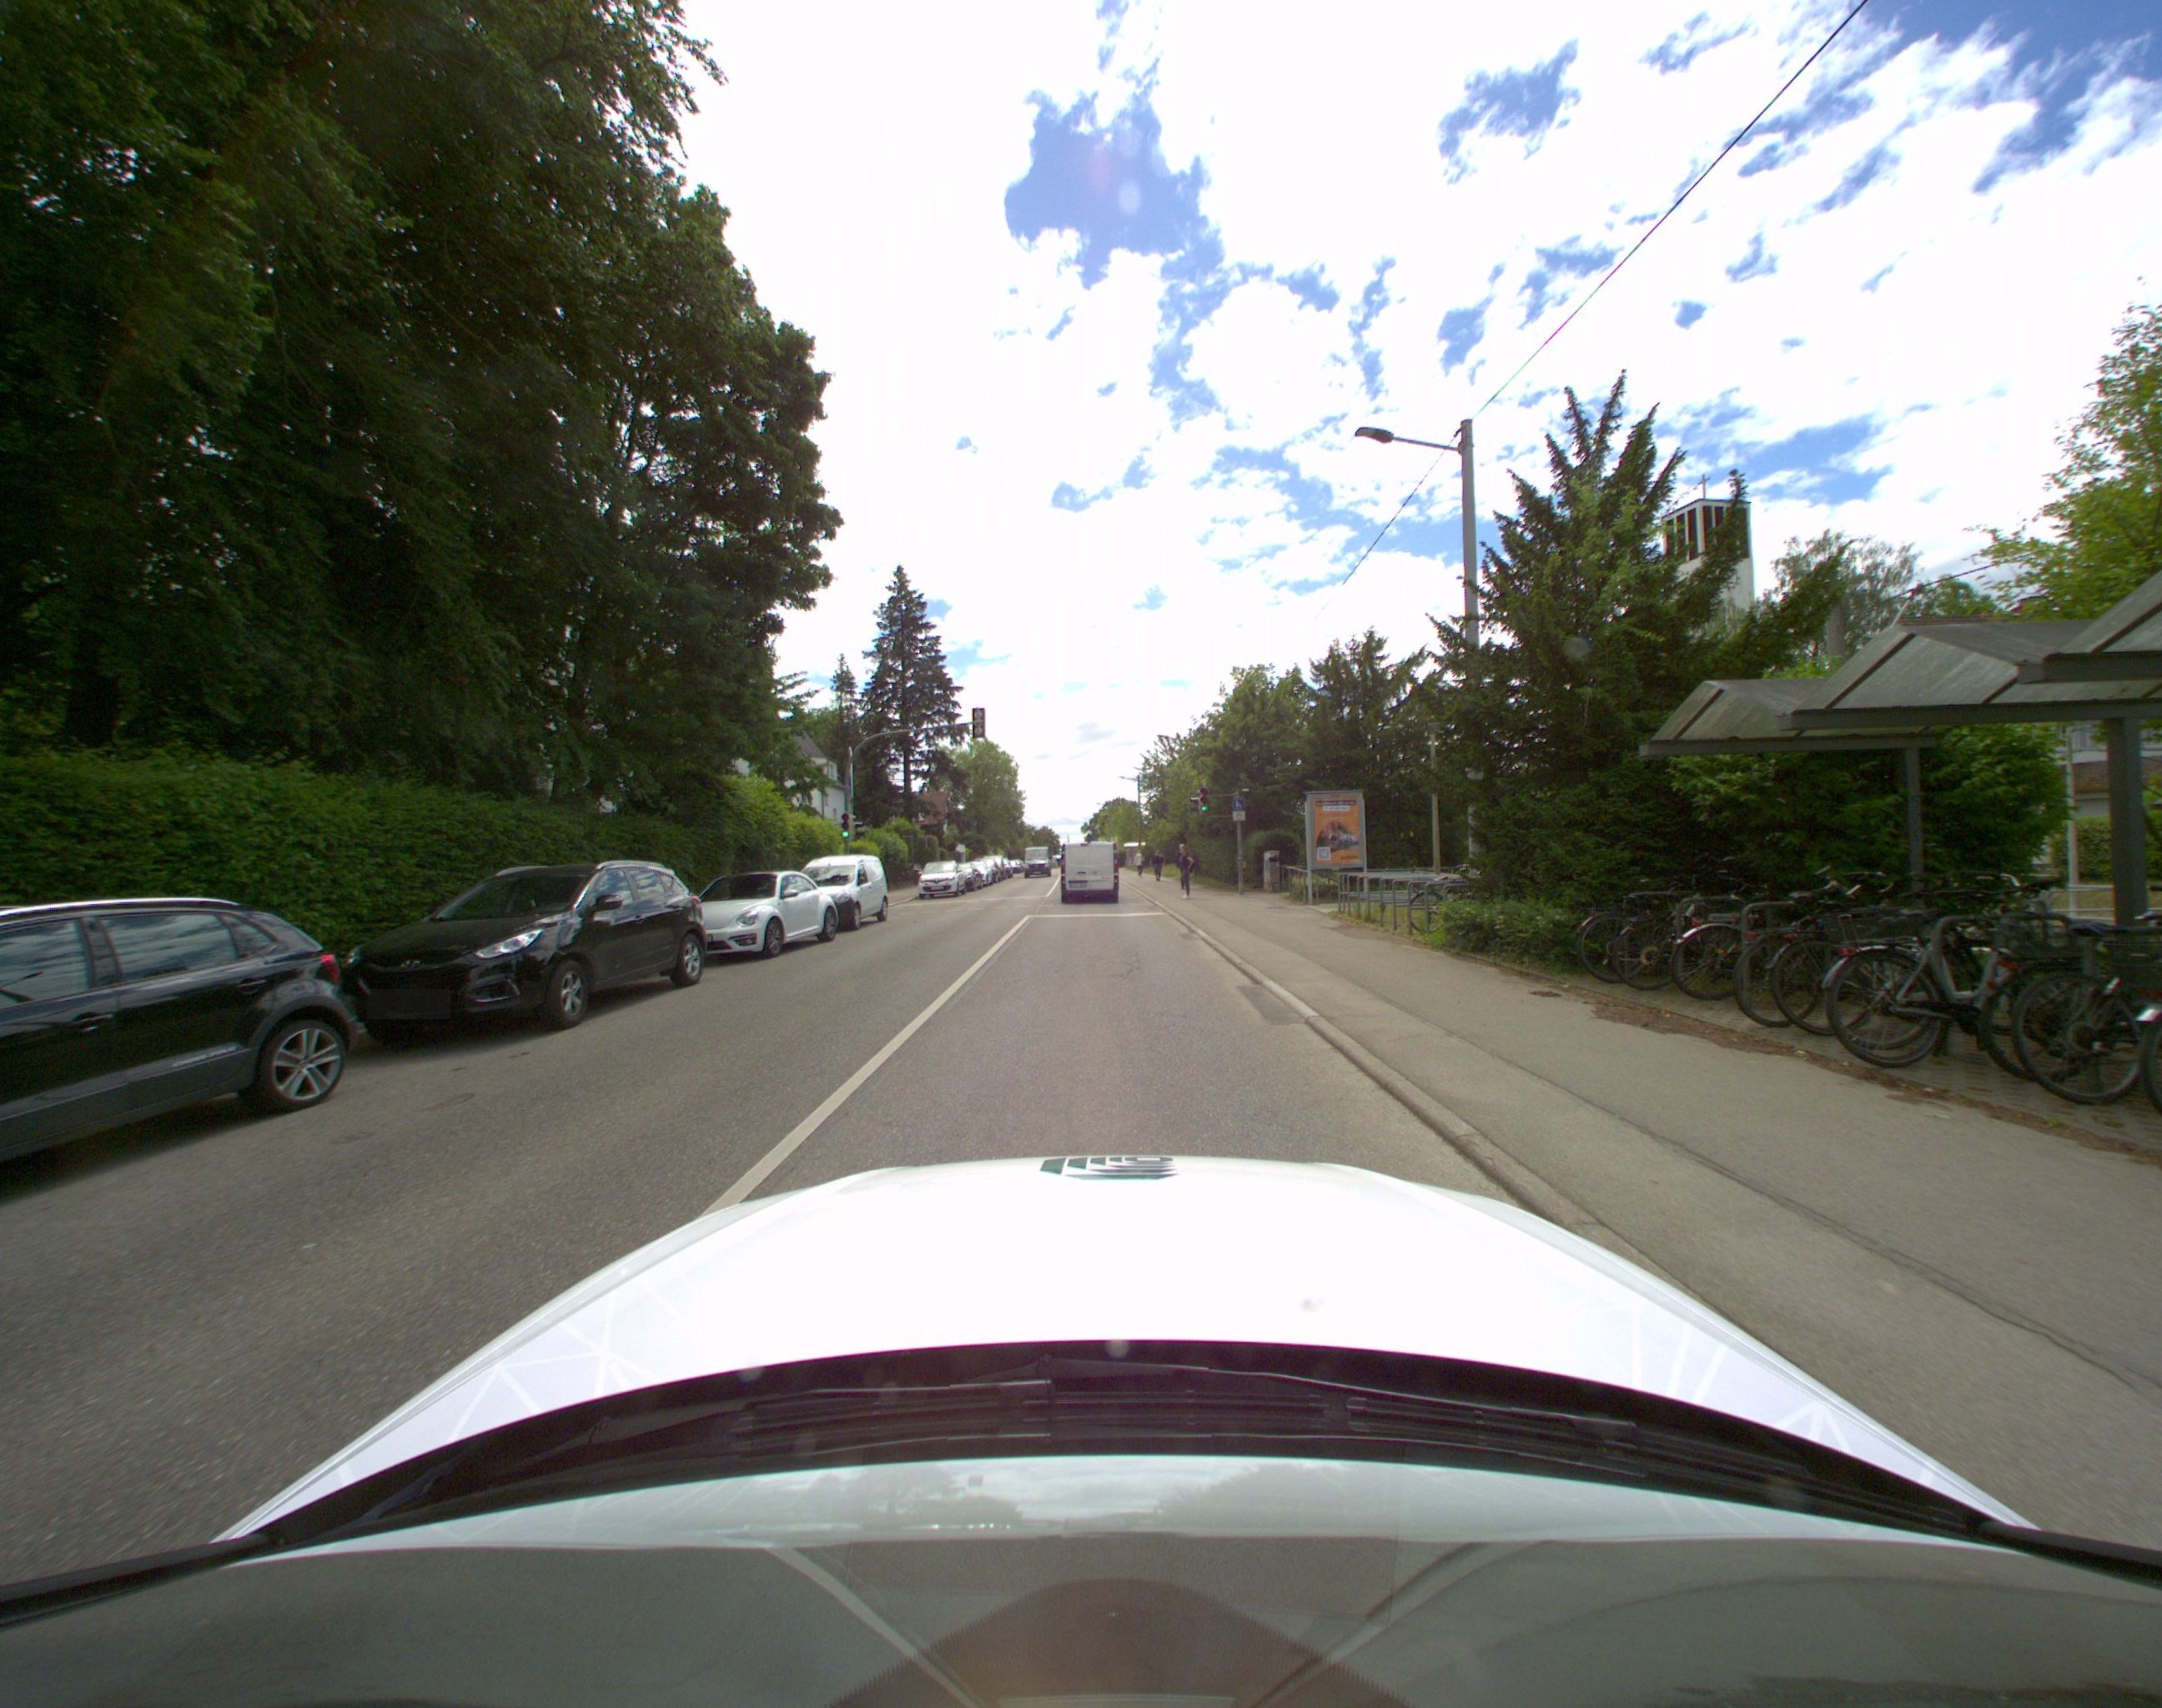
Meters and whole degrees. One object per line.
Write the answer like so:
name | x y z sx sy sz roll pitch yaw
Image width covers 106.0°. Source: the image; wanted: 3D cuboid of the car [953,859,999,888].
car | -5.979 1.074 46.905 1.799 1.459 5.069 -3 0 1

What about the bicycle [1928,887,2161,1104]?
bicycle | 6.215 0.751 4.697 2.195 1.047 0.451 -4 -1 -3

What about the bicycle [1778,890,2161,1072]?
bicycle | 5.809 0.794 5.301 2.195 1.047 0.451 -1 -1 -3

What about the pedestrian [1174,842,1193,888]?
pedestrian | 4.232 0.446 33.522 0.741 1.883 0.802 0 -1 5

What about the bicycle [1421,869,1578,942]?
bicycle | 6.333 0.771 12.375 2.080 1.047 0.559 1 -1 2

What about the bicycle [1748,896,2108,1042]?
bicycle | 5.979 0.790 5.781 2.196 0.938 0.451 0 -1 -4

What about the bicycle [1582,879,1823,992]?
bicycle | 6.088 0.780 8.014 2.083 1.047 0.450 0 -1 -3

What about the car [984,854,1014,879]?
car | -6.532 0.969 65.467 1.979 1.819 4.704 -2 0 -2

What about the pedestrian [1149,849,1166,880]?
pedestrian | 4.112 0.546 43.834 0.836 1.659 0.767 0 -1 3

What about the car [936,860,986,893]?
car | -5.984 1.103 41.155 1.737 1.410 4.324 -3 0 1

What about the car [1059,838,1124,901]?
car | 0.298 0.493 27.749 2.028 1.945 4.991 0 0 -1

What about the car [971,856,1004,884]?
car | -6.152 1.003 53.844 1.622 1.678 4.581 -4 0 -1

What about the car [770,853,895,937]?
car | -6.017 0.902 20.324 1.672 1.758 4.606 -3 0 -1

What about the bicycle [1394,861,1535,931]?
bicycle | 6.467 0.704 13.782 2.080 1.081 0.547 -2 -1 2

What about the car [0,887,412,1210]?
car | -6.115 1.018 4.248 1.728 1.459 4.235 -2 0 -1

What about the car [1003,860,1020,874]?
car | -7.385 1.351 86.261 1.649 1.427 3.897 -3 0 -6

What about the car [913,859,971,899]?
car | -5.995 1.043 35.497 1.697 1.543 3.743 -3 0 1

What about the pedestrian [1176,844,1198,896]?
pedestrian | 3.438 0.503 26.417 0.644 1.664 0.709 0 -1 4

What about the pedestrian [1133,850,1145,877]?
pedestrian | 3.601 0.577 50.617 0.683 1.659 0.690 0 -1 3

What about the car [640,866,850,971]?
car | -5.877 1.042 14.917 1.697 1.453 4.361 -5 0 3

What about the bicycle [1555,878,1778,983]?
bicycle | 6.138 0.788 8.570 2.083 1.047 0.450 0 -1 -3

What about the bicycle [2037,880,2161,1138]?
bicycle | 5.986 0.690 3.850 2.190 1.149 0.452 -2 -1 5

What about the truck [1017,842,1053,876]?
truck | -3.480 0.369 62.929 2.182 2.371 6.904 -3 0 0

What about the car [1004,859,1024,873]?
car | -7.513 1.363 91.175 1.861 1.459 4.486 -2 -1 -1

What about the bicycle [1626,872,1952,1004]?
bicycle | 6.041 0.721 7.083 2.071 1.047 0.453 -3 -1 20

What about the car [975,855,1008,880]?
car | -6.500 0.940 59.383 2.062 1.754 4.879 0 0 -2

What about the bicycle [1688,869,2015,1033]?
bicycle | 5.911 0.715 6.295 2.083 1.150 0.530 -1 -1 -3

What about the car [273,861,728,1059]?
car | -5.989 0.926 9.323 1.891 1.593 4.641 -2 0 -1

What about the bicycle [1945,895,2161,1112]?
bicycle | 5.969 0.750 4.276 2.190 1.047 0.452 -2 -1 5
